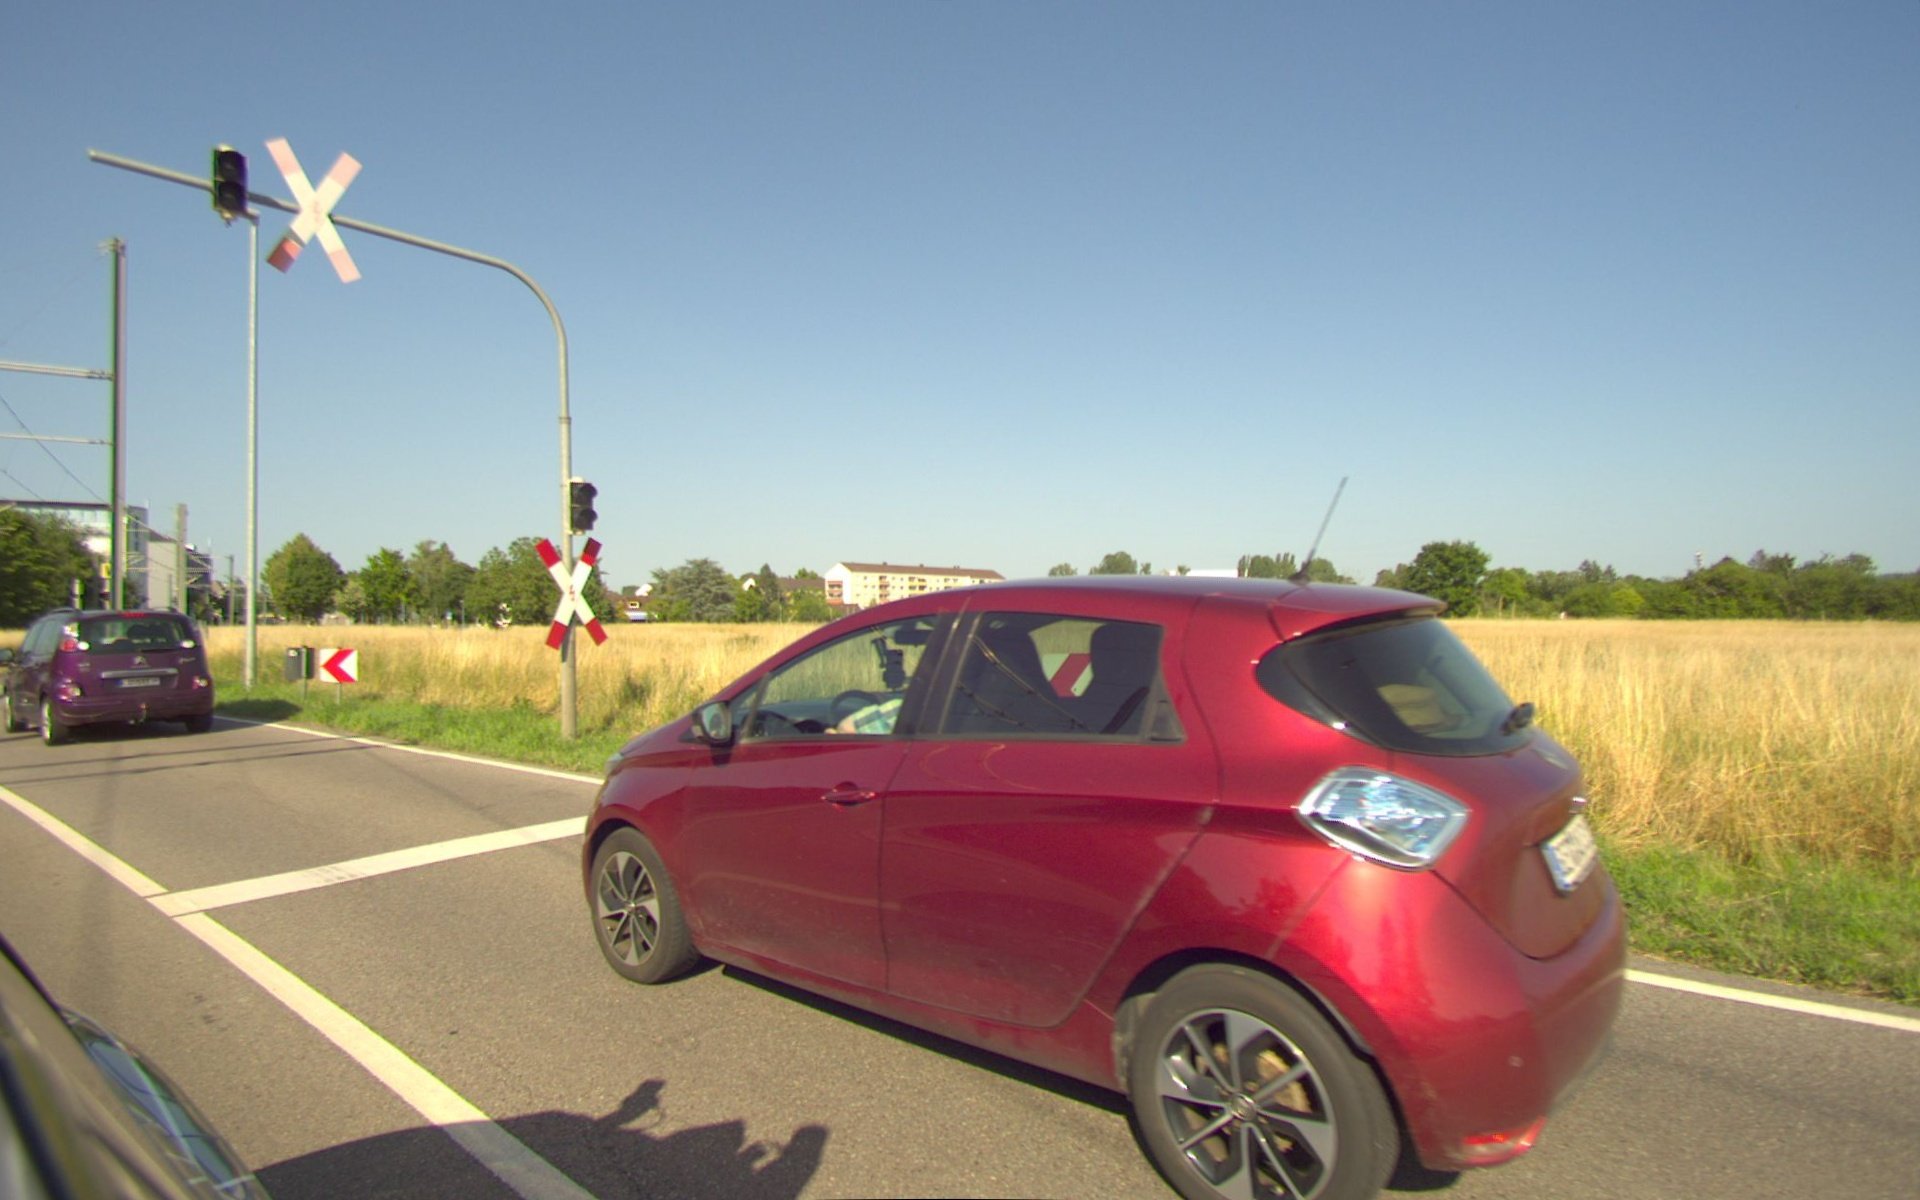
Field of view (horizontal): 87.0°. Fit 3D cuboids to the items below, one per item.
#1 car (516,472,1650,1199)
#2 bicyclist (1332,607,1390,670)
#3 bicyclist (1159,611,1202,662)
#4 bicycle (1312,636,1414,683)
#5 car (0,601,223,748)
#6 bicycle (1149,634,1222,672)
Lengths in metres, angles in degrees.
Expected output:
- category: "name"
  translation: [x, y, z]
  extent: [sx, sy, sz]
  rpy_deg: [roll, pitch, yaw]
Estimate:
- category: "car"
  translation: [0.108, 0.572, 3.790]
  extent: [3.925, 1.561, 1.695]
  rpy_deg: [-1, 0, 40]
- category: "bicyclist"
  translation: [7.969, 0.758, 20.136]
  extent: [0.735, 1.214, 0.791]
  rpy_deg: [-1, -1, -37]
- category: "bicyclist"
  translation: [5.356, 0.885, 24.605]
  extent: [0.594, 1.214, 0.791]
  rpy_deg: [-1, -1, -37]
- category: "bicycle"
  translation: [7.986, 1.167, 20.119]
  extent: [0.740, 0.845, 1.740]
  rpy_deg: [-1, 0, -37]
- category: "car"
  translation: [-11.753, 0.911, 13.749]
  extent: [4.585, 1.678, 1.689]
  rpy_deg: [-2, -1, 39]
- category: "bicycle"
  translation: [5.445, 1.271, 24.492]
  extent: [0.605, 0.845, 1.740]
  rpy_deg: [-1, -1, -37]
